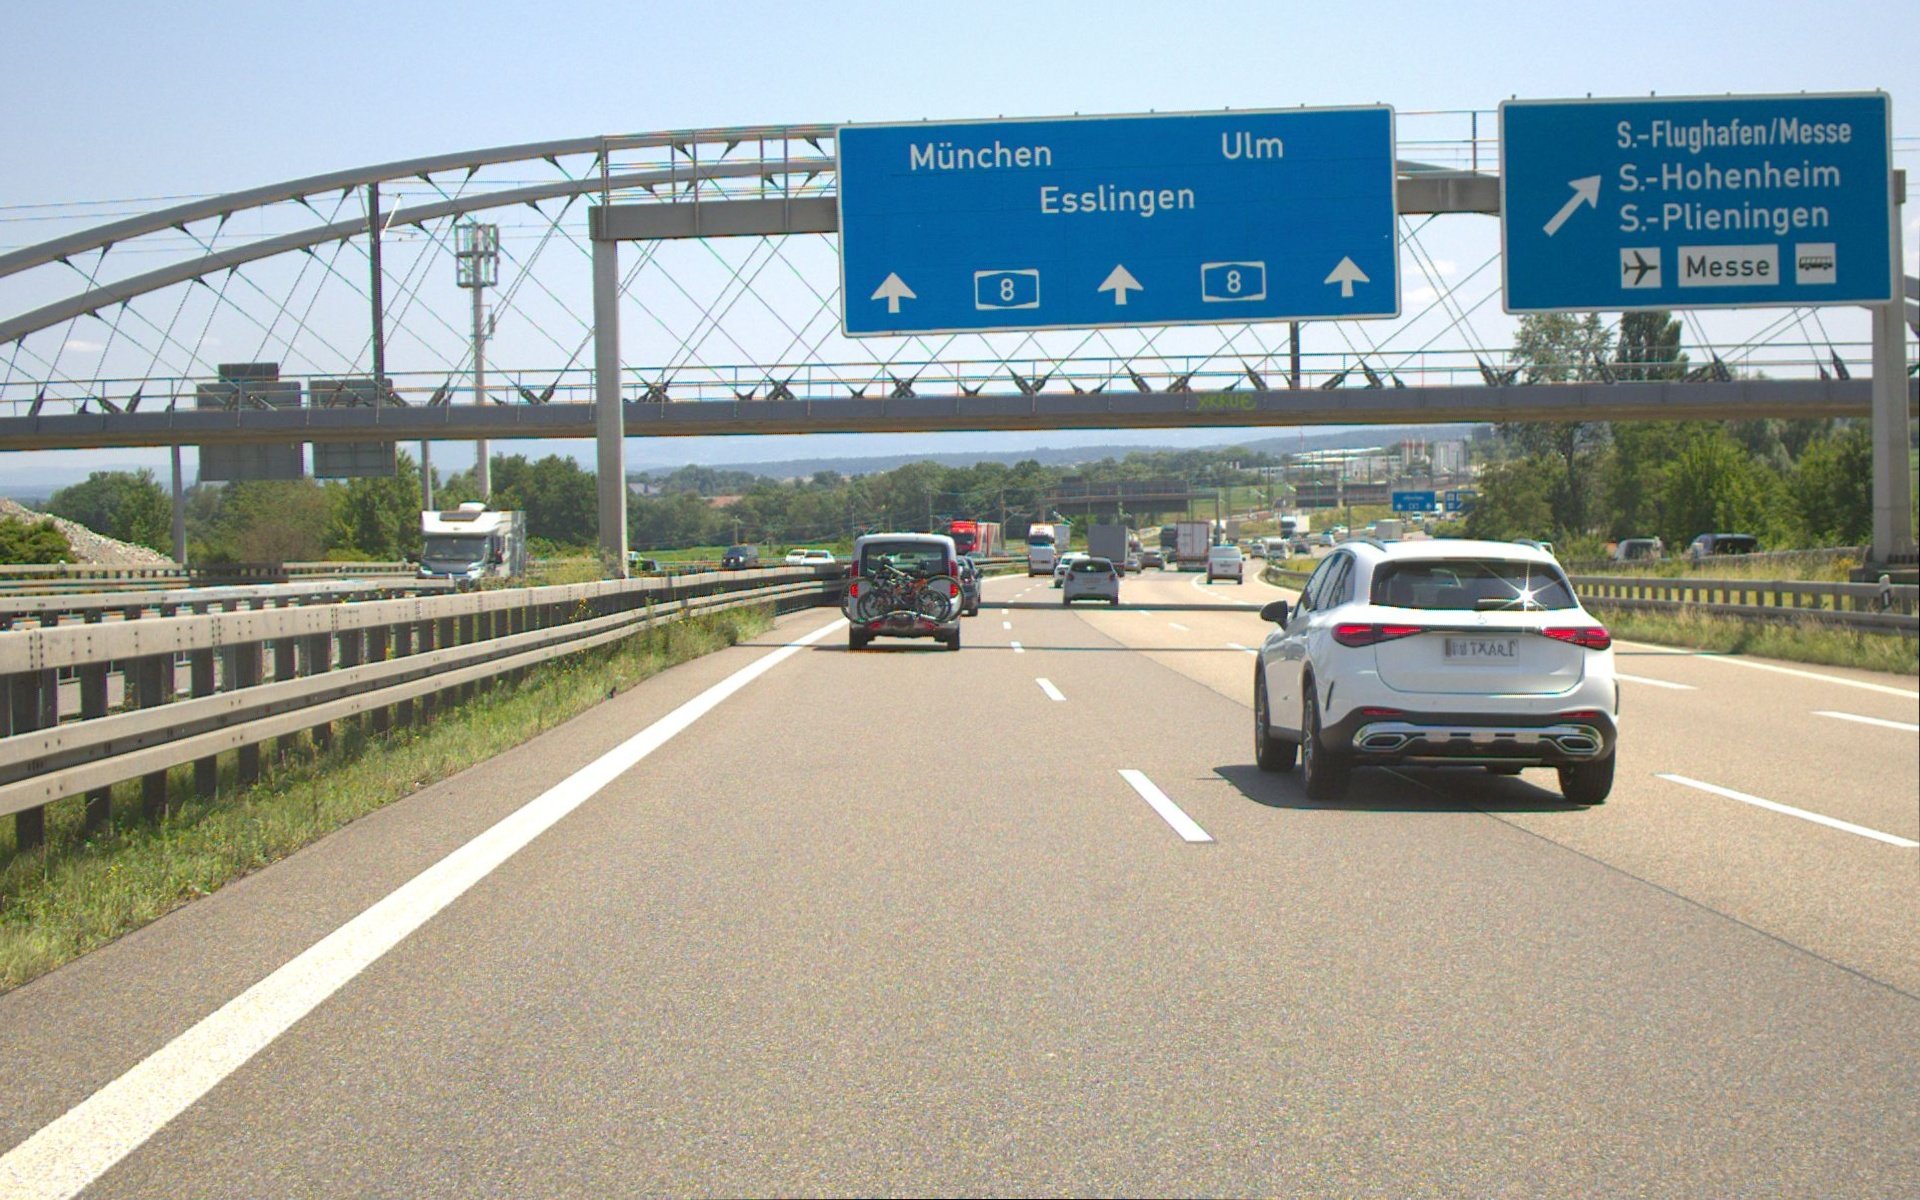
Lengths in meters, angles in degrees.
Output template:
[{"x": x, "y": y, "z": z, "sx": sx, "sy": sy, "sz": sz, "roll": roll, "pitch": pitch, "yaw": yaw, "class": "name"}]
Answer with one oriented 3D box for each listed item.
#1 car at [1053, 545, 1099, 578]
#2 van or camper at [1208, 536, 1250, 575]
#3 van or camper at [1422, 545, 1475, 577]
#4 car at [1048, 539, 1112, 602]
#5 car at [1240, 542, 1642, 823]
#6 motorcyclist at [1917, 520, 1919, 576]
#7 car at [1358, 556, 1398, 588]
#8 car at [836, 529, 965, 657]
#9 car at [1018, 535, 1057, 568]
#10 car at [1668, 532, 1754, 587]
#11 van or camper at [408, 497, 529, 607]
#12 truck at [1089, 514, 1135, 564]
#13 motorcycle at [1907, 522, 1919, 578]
[{"x": 5.232, "y": -1.736, "z": 154.859, "sx": 1.982, "sy": 1.468, "sz": 4.000, "roll": 0, "pitch": 1, "yaw": 3, "class": "car"}, {"x": 14.309, "y": -2.351, "z": 182.889, "sx": 2.156, "sy": 2.007, "sz": 4.304, "roll": 1, "pitch": 1, "yaw": 4, "class": "van or camper"}, {"x": 31.806, "y": -2.547, "z": 223.966, "sx": 2.528, "sy": 2.007, "sz": 4.461, "roll": 1, "pitch": 1, "yaw": -4, "class": "van or camper"}, {"x": 3.705, "y": -0.916, "z": 107.069, "sx": 1.927, "sy": 1.912, "sz": 4.517, "roll": 1, "pitch": 1, "yaw": 1, "class": "car"}, {"x": 3.053, "y": 0.464, "z": 22.857, "sx": 1.898, "sy": 1.641, "sz": 4.999, "roll": 1, "pitch": 1, "yaw": -1, "class": "car"}, {"x": 23.572, "y": -1.245, "z": 82.996, "sx": 0.668, "sy": 1.362, "sz": 0.878, "roll": 1, "pitch": 0, "yaw": 0, "class": "motorcyclist"}, {"x": 26.356, "y": -1.769, "z": 216.880, "sx": 1.993, "sy": 2.007, "sz": 4.000, "roll": 1, "pitch": 1, "yaw": -1, "class": "car"}, {"x": -0.934, "y": -0.134, "z": 54.657, "sx": 1.926, "sy": 1.912, "sz": 4.948, "roll": 1, "pitch": 1, "yaw": -1, "class": "car"}, {"x": 4.788, "y": -2.996, "z": 211.952, "sx": 2.186, "sy": 1.996, "sz": 3.999, "roll": 1, "pitch": 1, "yaw": 5, "class": "car"}, {"x": 22.448, "y": -1.207, "z": 102.900, "sx": 1.699, "sy": 1.569, "sz": 4.128, "roll": 1, "pitch": 1, "yaw": 1, "class": "car"}, {"x": -14.272, "y": -1.401, "z": 100.257, "sx": 2.444, "sy": 3.076, "sz": 8.123, "roll": 0, "pitch": 1, "yaw": -1, "class": "van or camper"}, {"x": 9.660, "y": -3.840, "z": 219.364, "sx": 2.702, "sy": 3.098, "sz": 10.659, "roll": 1, "pitch": 1, "yaw": 2, "class": "truck"}, {"x": 23.548, "y": -1.210, "z": 83.129, "sx": 0.760, "sy": 1.362, "sz": 1.870, "roll": 1, "pitch": 1, "yaw": -1, "class": "motorcycle"}]
